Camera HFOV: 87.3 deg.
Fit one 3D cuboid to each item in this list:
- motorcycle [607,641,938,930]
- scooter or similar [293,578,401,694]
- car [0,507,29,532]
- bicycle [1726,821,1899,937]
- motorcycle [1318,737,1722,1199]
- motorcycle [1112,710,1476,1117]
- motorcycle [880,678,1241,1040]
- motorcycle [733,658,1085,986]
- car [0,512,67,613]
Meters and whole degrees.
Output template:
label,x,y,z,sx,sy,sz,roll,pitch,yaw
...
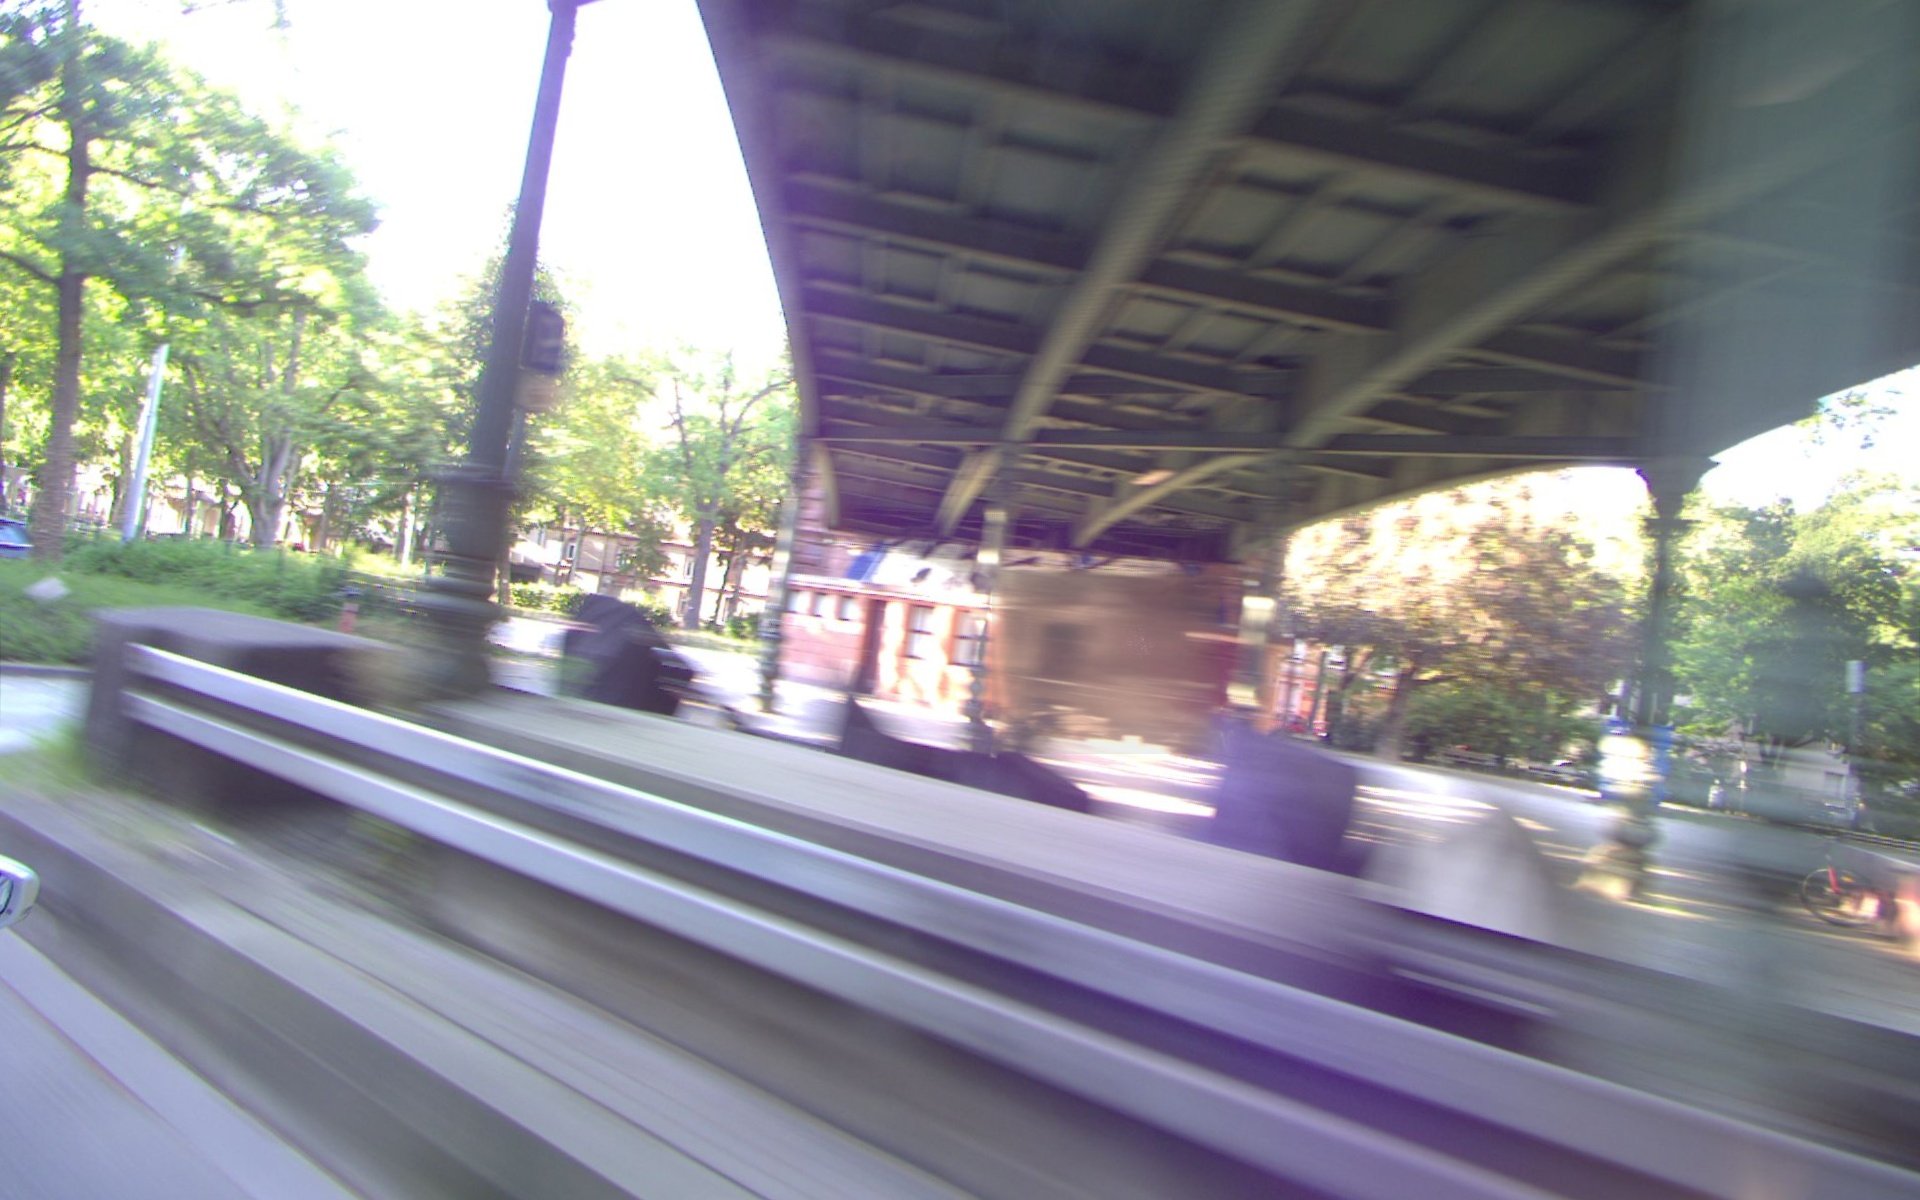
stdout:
label,x,y,z,sx,sy,sz,roll,pitch,yaw
motorcycle,-1.046,1.073,5.863,1.595,1.422,0.705,12,-6,-40
scooter or similar,-7.736,0.444,12.681,1.304,1.311,0.478,5,-5,33
car,-79.585,-6.886,82.232,4.681,1.700,1.982,12,-6,-36
bicycle,9.835,3.192,11.683,0.514,0.868,1.615,8,-1,-1
motorcycle,2.143,1.326,3.746,1.595,1.422,0.705,12,-6,-40
motorcycle,1.548,1.313,4.509,1.595,1.422,0.705,12,-6,-40
motorcycle,0.541,1.209,4.921,1.595,1.422,0.705,12,-6,-40
motorcycle,-0.219,1.138,5.307,1.595,1.422,0.705,12,-6,-40
car,-16.214,-0.808,15.071,1.606,1.488,3.795,5,-4,26
